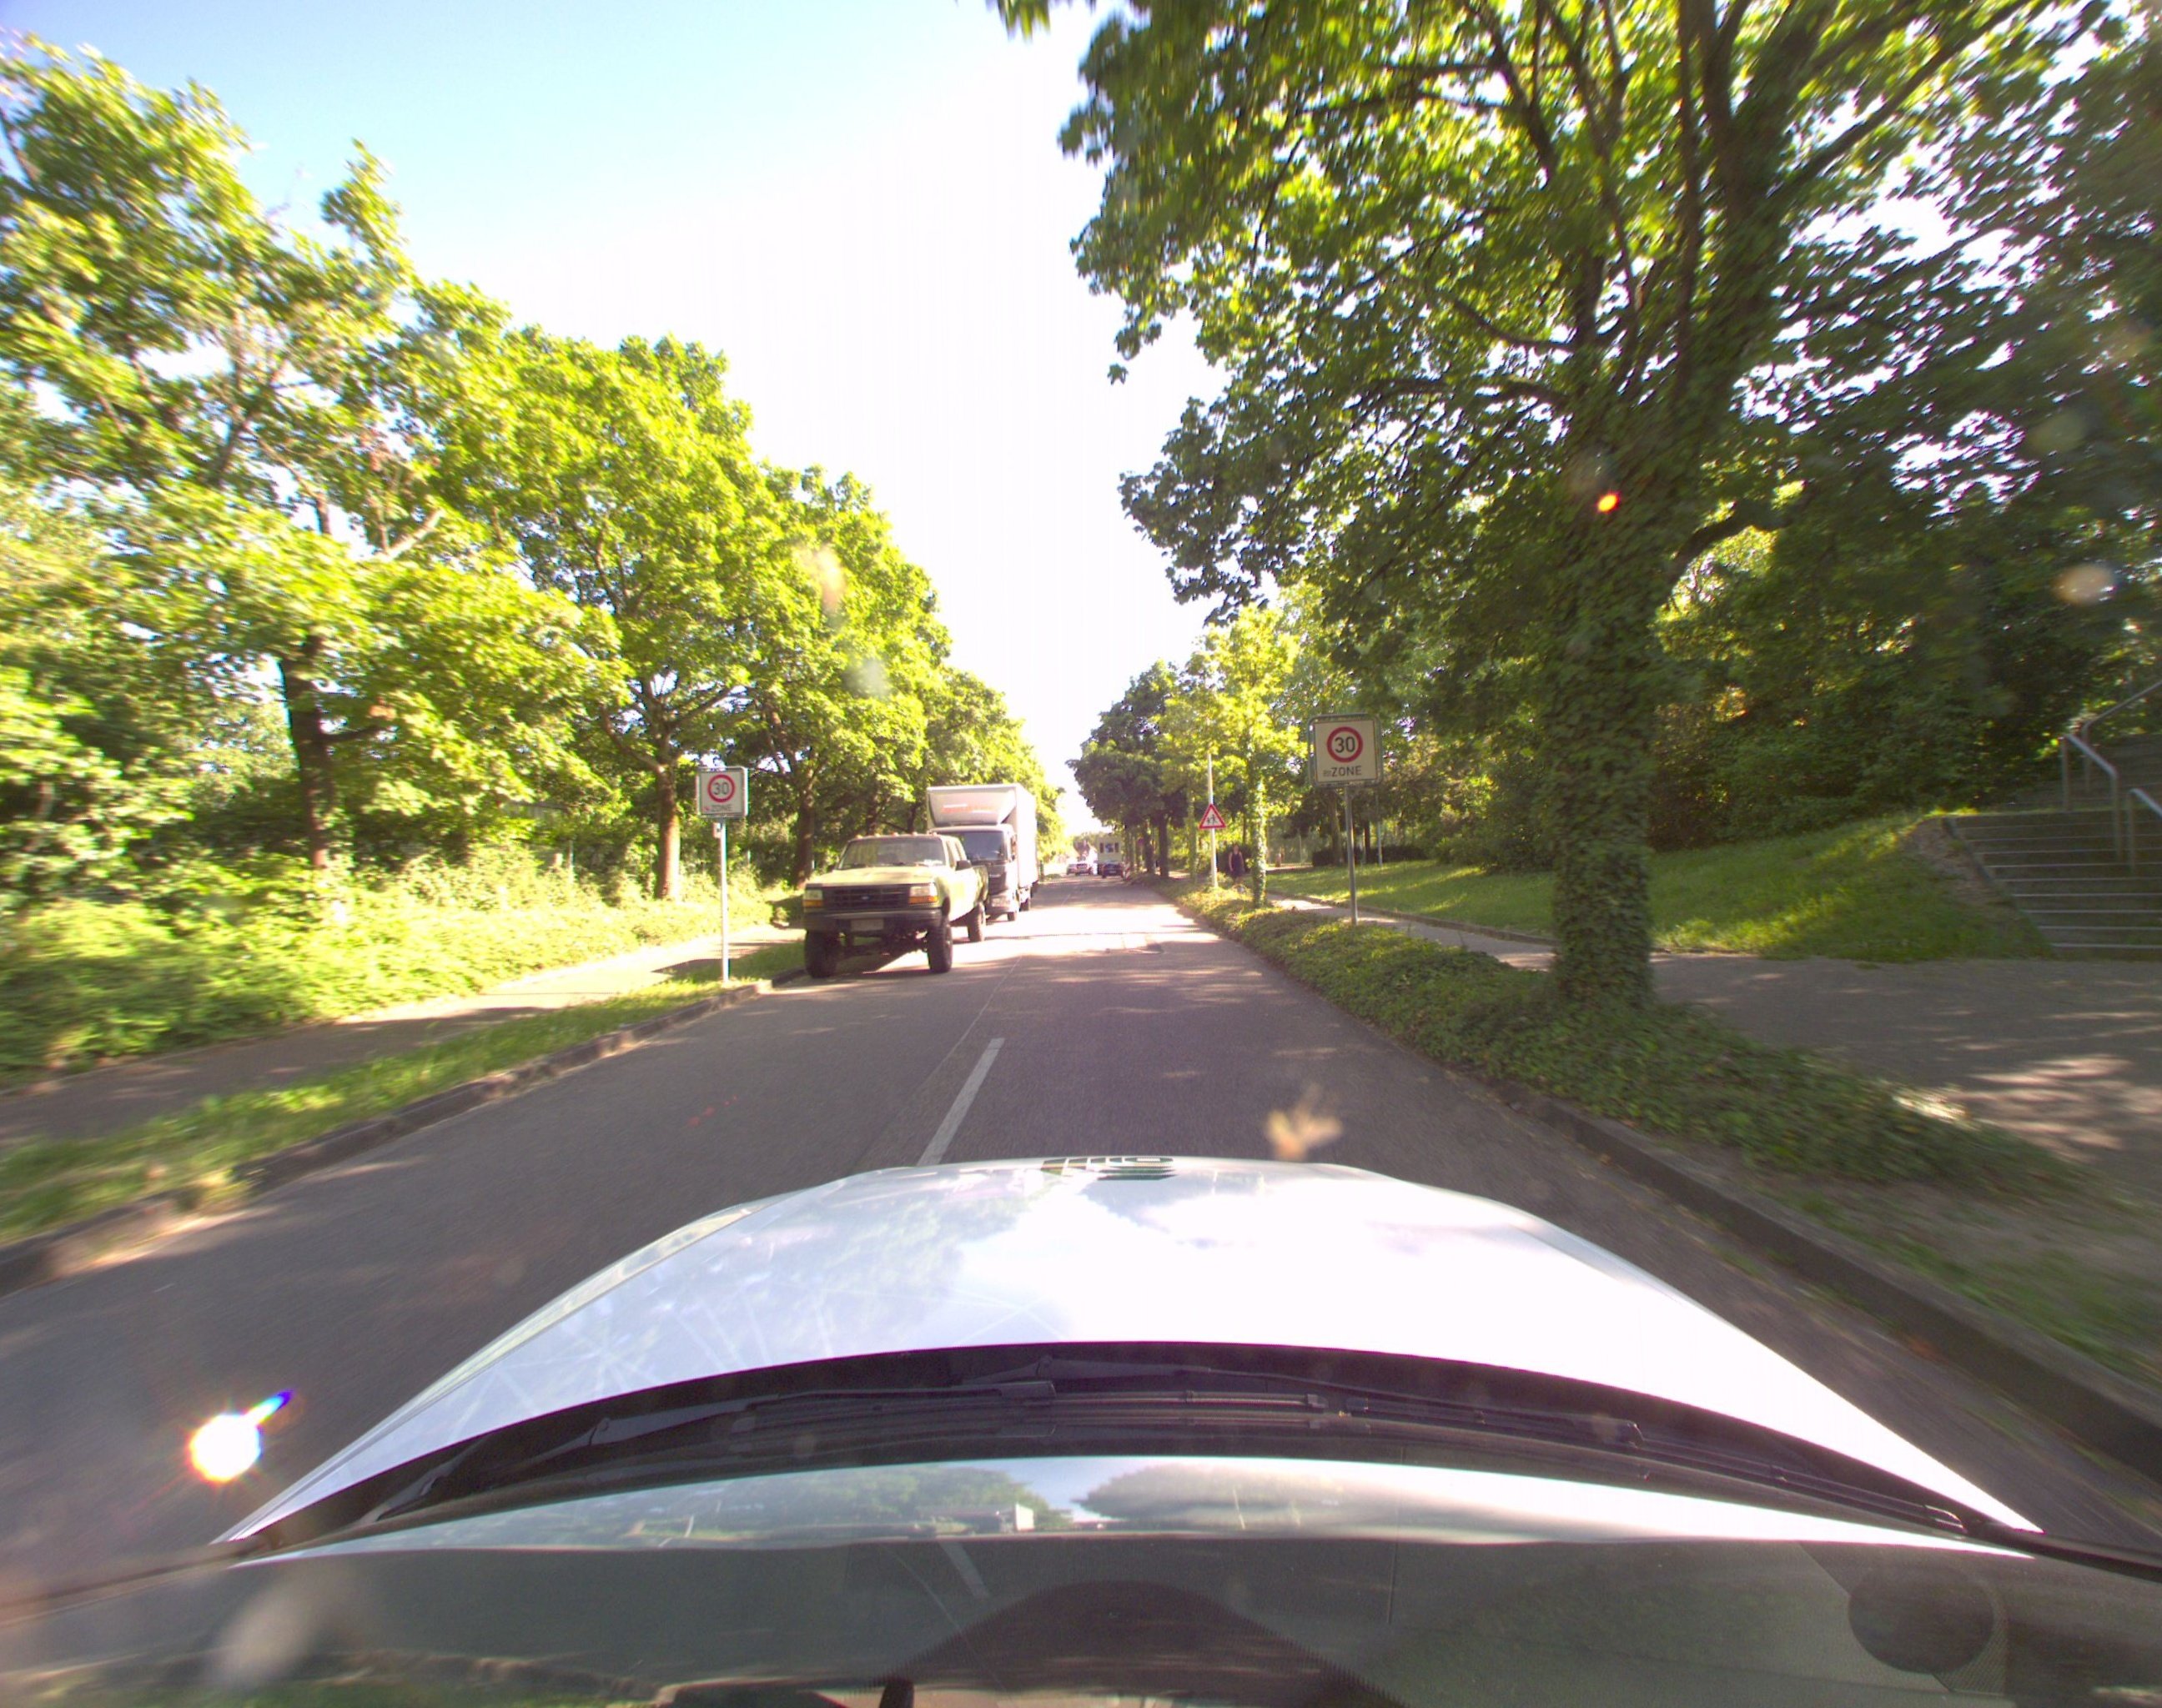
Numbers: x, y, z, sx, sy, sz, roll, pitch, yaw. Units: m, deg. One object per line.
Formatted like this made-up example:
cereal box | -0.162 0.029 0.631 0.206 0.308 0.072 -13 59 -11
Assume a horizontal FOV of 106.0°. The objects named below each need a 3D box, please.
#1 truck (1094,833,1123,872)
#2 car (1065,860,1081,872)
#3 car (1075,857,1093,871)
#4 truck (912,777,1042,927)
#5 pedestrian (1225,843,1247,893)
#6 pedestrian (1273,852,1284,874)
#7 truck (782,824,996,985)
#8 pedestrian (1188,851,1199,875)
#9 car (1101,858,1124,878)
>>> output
truck | 2.993 -0.146 88.209 2.877 3.944 10.004 -2 0 2
car | -1.047 1.509 104.950 1.787 1.510 4.001 -2 -1 2
car | 0.373 1.155 92.295 1.787 1.510 4.001 -2 -1 2
truck | -2.791 -0.023 24.233 2.605 3.627 7.957 -3 -1 1
pedestrian | 5.800 0.532 30.552 0.645 1.820 0.650 -2 -1 1
pedestrian | 14.697 0.673 60.734 0.645 1.661 0.650 -2 -1 2
truck | -2.944 0.710 14.372 2.106 2.094 6.646 -3 0 0
pedestrian | 7.986 0.627 57.728 0.645 1.661 0.650 -2 -1 2
car | 2.523 1.094 66.047 1.787 1.510 4.001 -2 -1 2
